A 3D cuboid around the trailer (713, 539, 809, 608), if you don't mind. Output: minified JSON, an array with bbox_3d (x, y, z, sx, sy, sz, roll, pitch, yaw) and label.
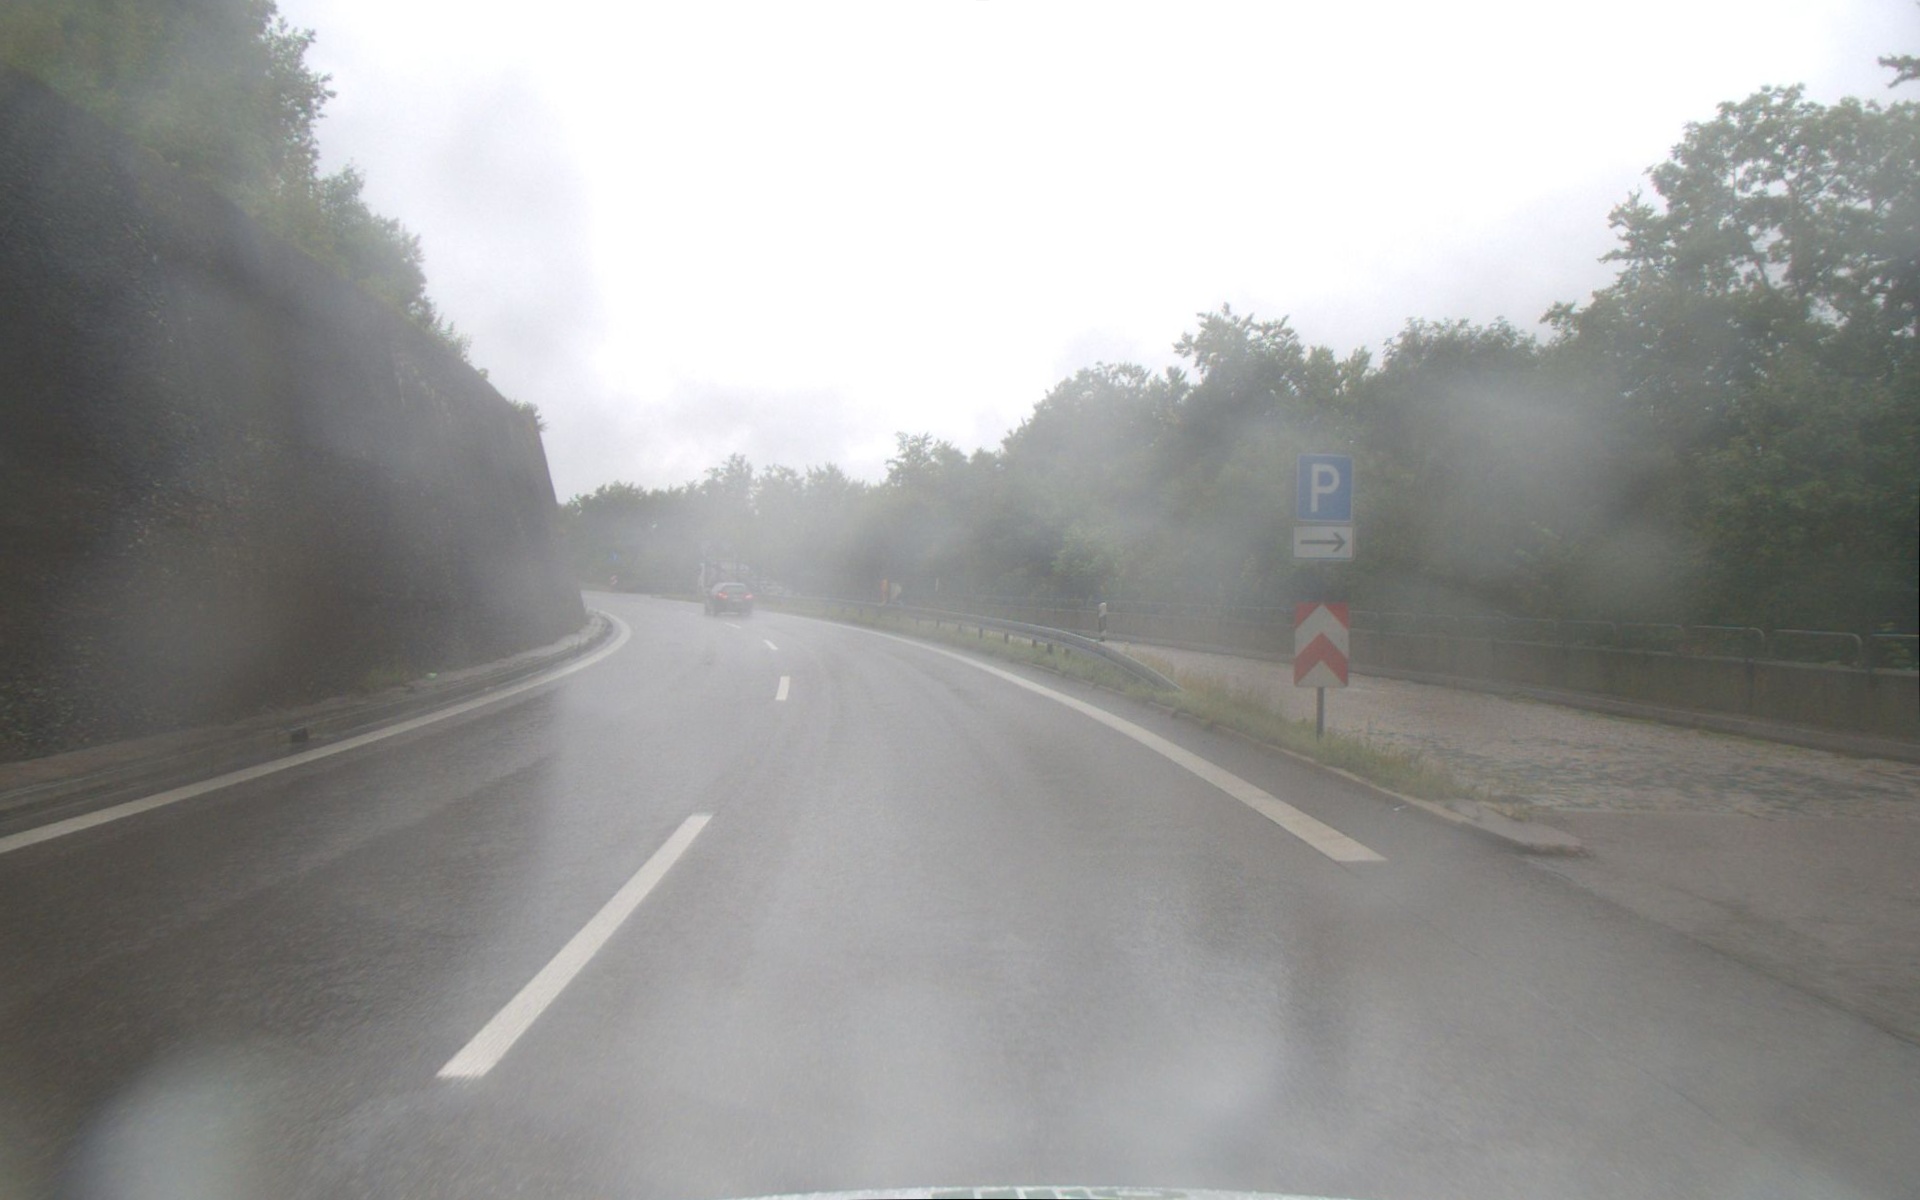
[{"bbox_3d":[-13.705,-1.797,112.300,2.851,4.319,14.602,1,0,-21],"label":"trailer"}]

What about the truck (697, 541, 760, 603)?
[{"bbox_3d":[-16.895,-2.002,120.396,2.856,4.319,6.835,1,0,-22],"label":"truck"}]

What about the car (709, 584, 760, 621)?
[{"bbox_3d":[-10.361,0.109,75.694,1.871,1.525,3.987,3,0,-13],"label":"car"}]
